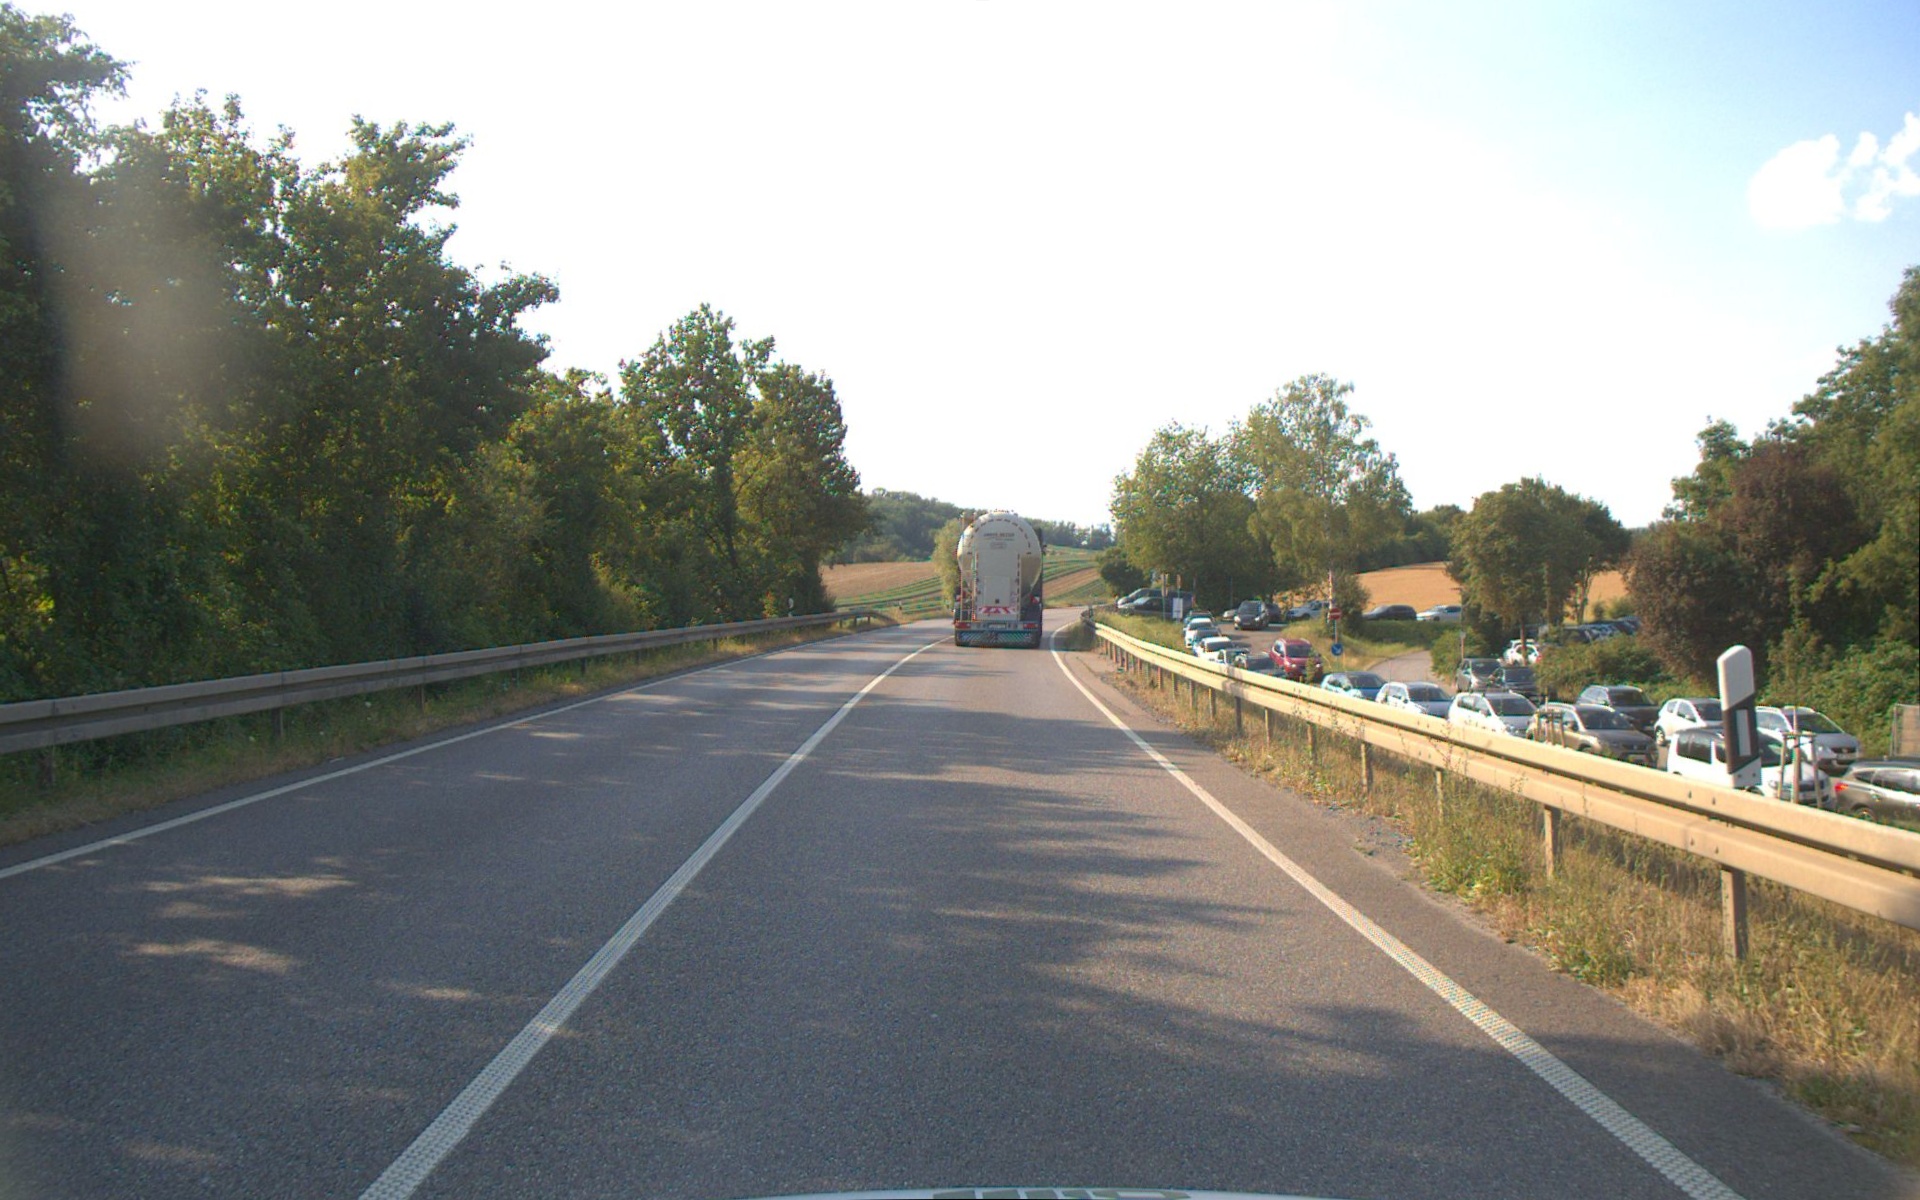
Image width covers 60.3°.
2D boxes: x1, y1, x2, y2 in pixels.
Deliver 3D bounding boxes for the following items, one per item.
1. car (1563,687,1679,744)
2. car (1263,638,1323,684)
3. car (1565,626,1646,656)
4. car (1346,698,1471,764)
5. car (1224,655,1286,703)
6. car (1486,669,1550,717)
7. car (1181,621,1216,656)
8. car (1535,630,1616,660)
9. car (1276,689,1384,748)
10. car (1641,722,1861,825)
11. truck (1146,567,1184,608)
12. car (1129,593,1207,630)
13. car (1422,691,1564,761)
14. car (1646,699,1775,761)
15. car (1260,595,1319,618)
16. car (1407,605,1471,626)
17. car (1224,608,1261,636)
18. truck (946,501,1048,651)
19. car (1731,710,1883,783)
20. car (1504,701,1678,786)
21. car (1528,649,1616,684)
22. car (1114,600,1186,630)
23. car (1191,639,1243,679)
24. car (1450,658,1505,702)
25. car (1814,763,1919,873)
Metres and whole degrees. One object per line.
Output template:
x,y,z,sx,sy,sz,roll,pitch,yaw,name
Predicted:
21.166,3.667,53.166,1.667,1.423,4.783,-3,0,-2,car
15.732,2.841,78.367,1.853,1.716,5.088,-3,2,1,car
40.775,2.562,104.556,1.786,1.720,4.531,0,0,-39,car
14.713,4.274,54.536,1.860,1.586,4.766,-4,2,-14,car
12.735,3.399,71.677,1.853,1.586,4.784,-3,2,1,car
21.312,3.521,63.299,1.665,1.423,4.789,-3,0,11,car
13.576,2.185,93.963,1.851,1.586,4.788,-3,2,8,car
38.457,2.790,103.345,4.496,1.720,1.800,0,0,31,car
13.332,4.246,59.898,1.860,1.586,4.766,-4,2,-13,car
17.686,3.829,37.283,1.860,1.586,4.766,-4,2,-13,car
22.880,-1.421,184.015,3.115,4.301,13.184,0,1,11,truck
14.014,0.745,111.883,5.033,1.977,1.976,6,1,5,car
15.817,3.698,49.357,1.860,1.586,4.766,-1,1,-14,car
21.738,3.738,48.064,1.668,1.423,3.941,-3,0,-5,car
23.254,0.434,116.866,3.662,1.466,1.802,2,0,-19,car
35.718,1.162,123.269,4.577,1.533,1.981,1,0,-29,car
17.708,1.376,103.756,1.852,1.704,4.784,1,-1,4,car
1.046,-0.714,53.368,2.833,4.215,13.171,1,0,0,truck
22.274,3.815,43.648,1.668,1.536,3.939,-1,0,-7,car
16.440,3.703,43.390,1.860,1.586,4.766,-4,2,-13,car
28.733,3.114,77.706,3.684,1.570,1.656,0,0,13,car
12.119,0.953,105.416,4.255,1.535,1.708,4,1,-24,car
12.794,2.926,82.631,1.853,1.586,4.784,-3,2,1,car
21.616,3.328,69.210,1.665,1.423,4.105,-3,2,11,car
18.688,4.226,31.217,1.860,1.586,4.766,-4,2,-13,car
